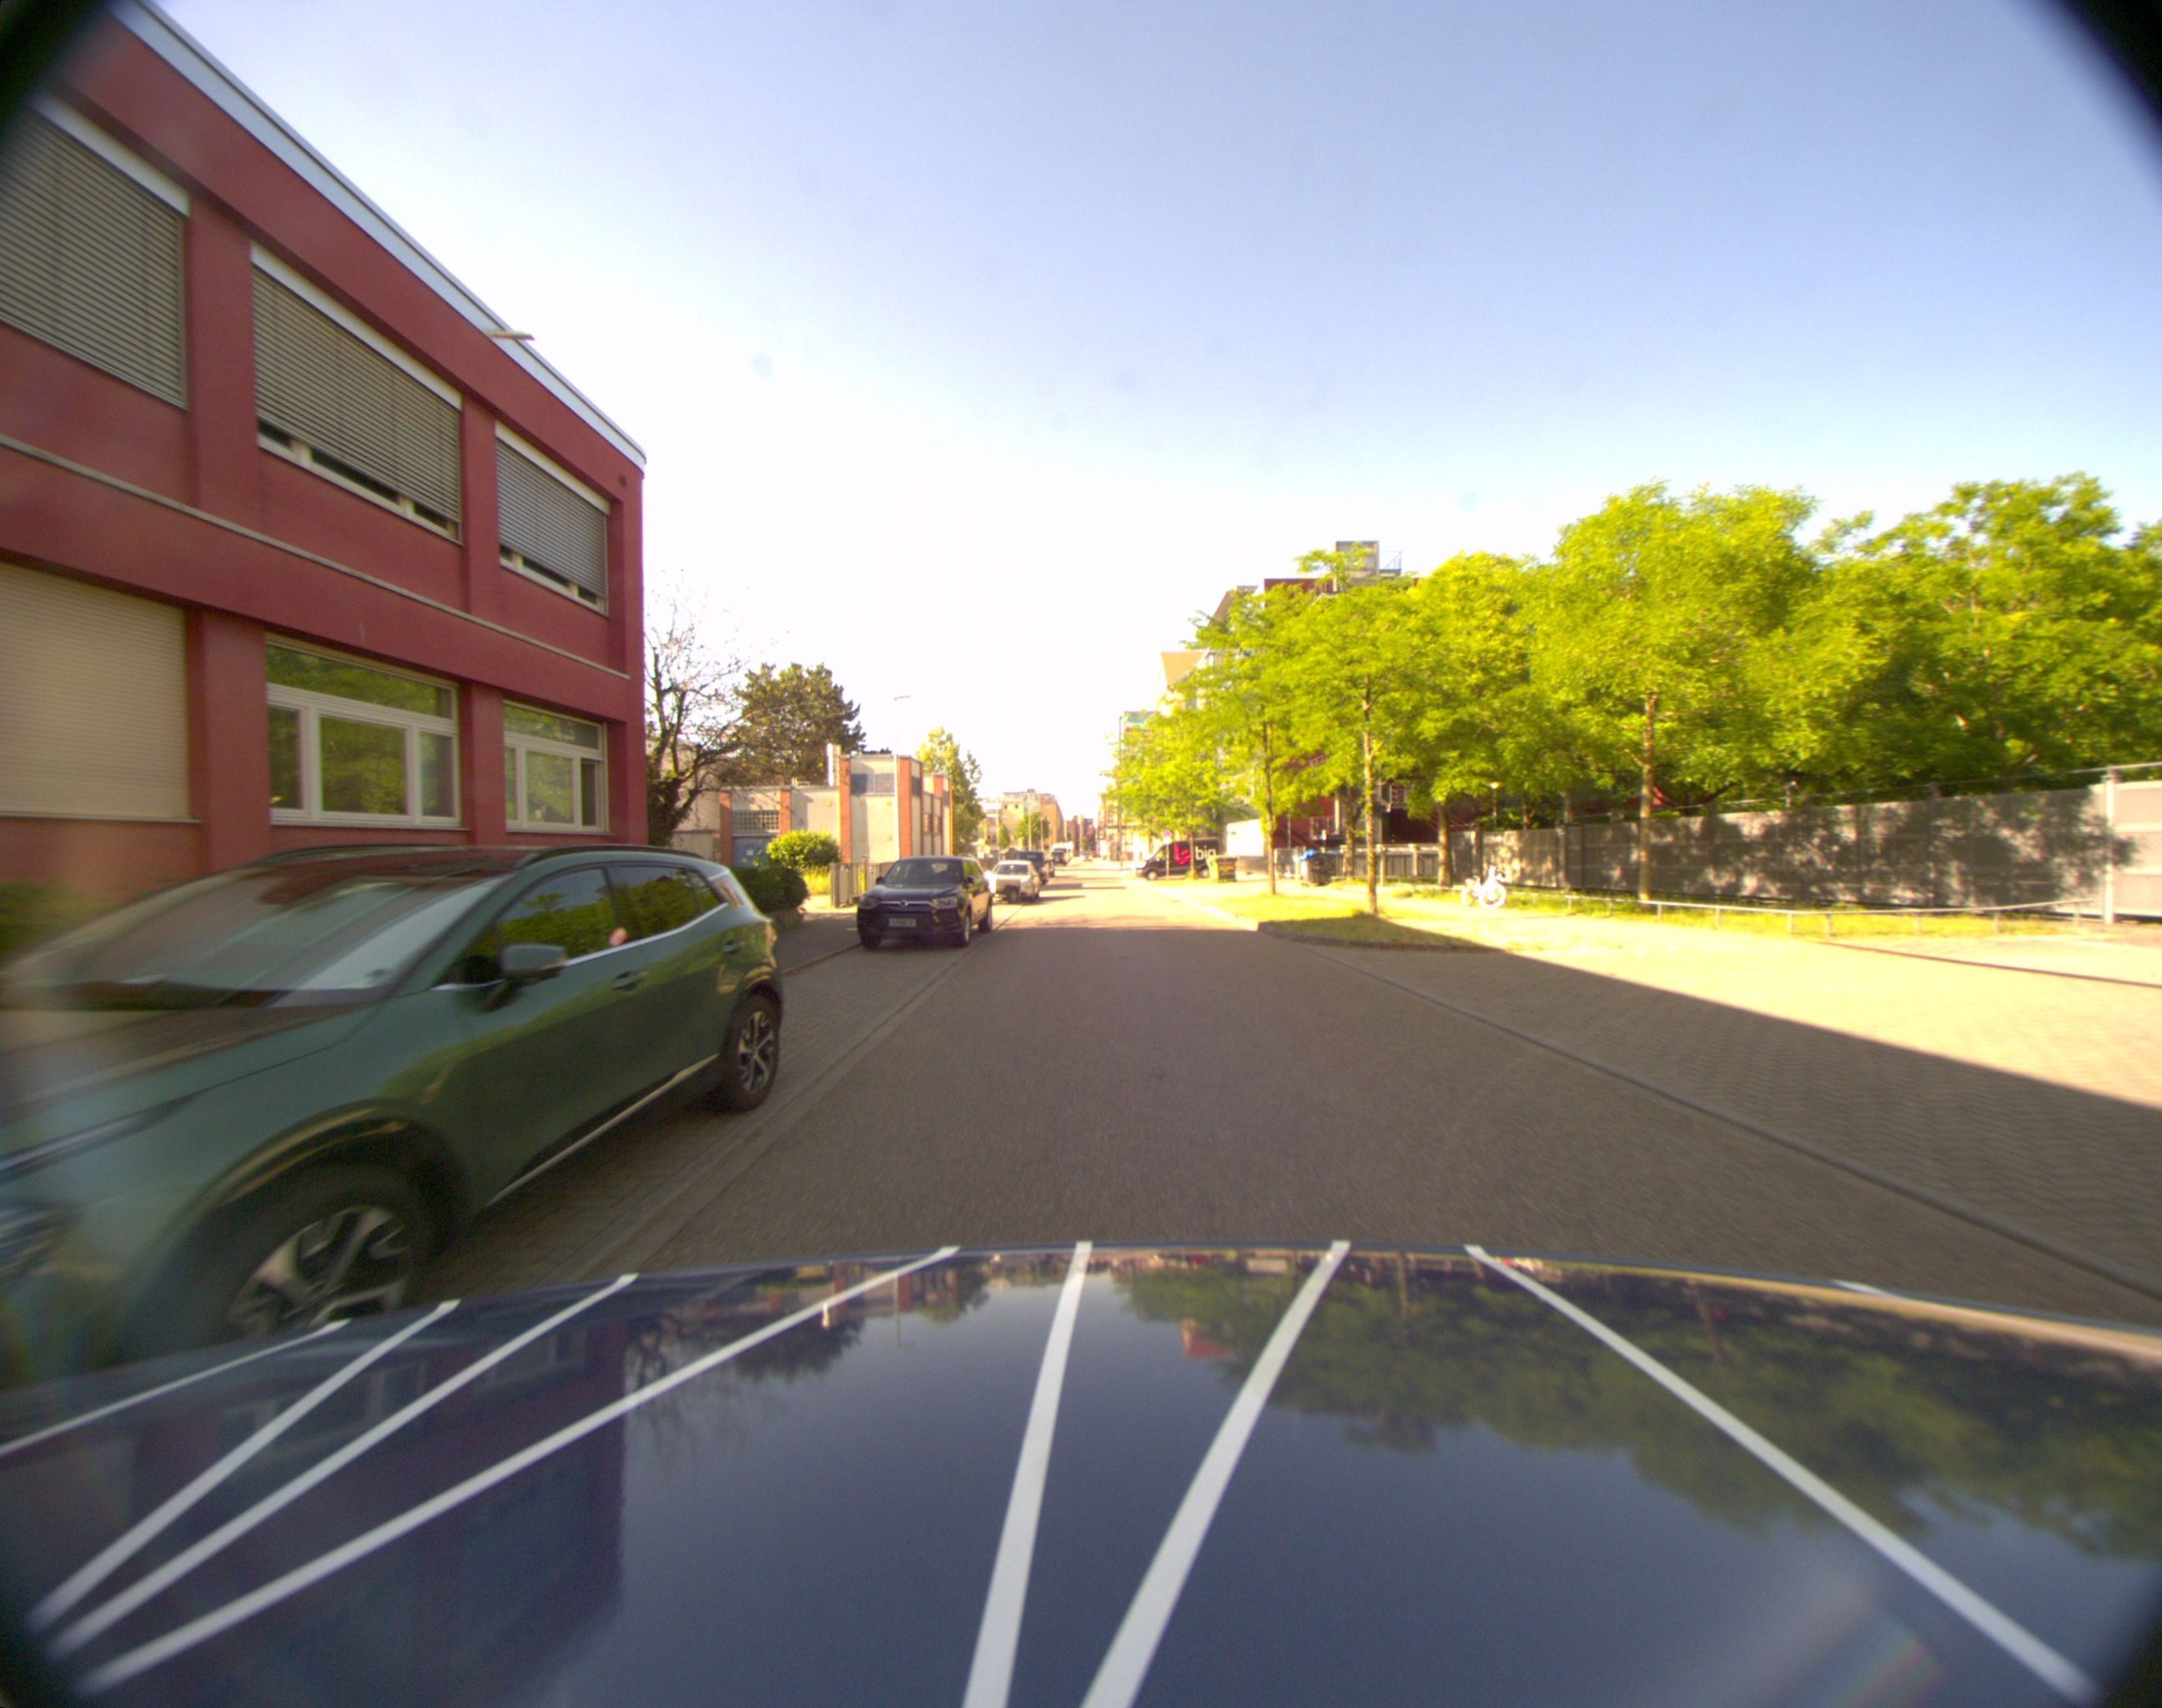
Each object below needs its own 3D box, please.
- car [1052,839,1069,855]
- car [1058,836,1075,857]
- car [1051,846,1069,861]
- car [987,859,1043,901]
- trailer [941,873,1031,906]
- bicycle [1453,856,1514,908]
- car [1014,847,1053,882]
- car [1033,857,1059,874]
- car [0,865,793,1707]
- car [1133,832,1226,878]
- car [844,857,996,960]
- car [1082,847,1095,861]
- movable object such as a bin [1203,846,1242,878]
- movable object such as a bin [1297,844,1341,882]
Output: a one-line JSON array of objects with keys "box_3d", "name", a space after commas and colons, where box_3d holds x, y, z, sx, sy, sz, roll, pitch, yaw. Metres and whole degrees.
[{"box_3d": [-2.513, -0.885, 95.612, 1.903, 1.974, 4.372, 0, 1, 1], "name": "car"}, {"box_3d": [-2.679, -1.447, 146.373, 2.913, 3.920, 6.325, 0, 1, 2], "name": "car"}, {"box_3d": [-2.376, -0.060, 86.483, 1.903, 1.585, 4.372, 0, 1, 1], "name": "car"}, {"box_3d": [-2.445, 0.924, 28.853, 1.699, 1.448, 3.889, 0, 1, 1], "name": "car"}, {"box_3d": [-3.119, 1.156, 25.370, 1.563, 0.922, 2.986, 0, 1, 27], "name": "trailer"}, {"box_3d": [10.050, 0.672, 19.026, 0.602, 1.185, 1.727, -2, 1, 1], "name": "bicycle"}, {"box_3d": [-2.752, 0.569, 44.932, 1.903, 1.974, 4.372, 0, 1, 1], "name": "car"}, {"box_3d": [-2.730, 0.895, 60.335, 1.777, 1.281, 4.095, 0, 0, 1], "name": "car"}, {"box_3d": [-2.976, 0.904, 3.044, 1.903, 1.620, 4.372, 0, 1, 1], "name": "car"}, {"box_3d": [6.173, 0.041, 47.982, 5.489, 2.527, 1.986, -3, 1, 0], "name": "car"}, {"box_3d": [-2.842, 0.887, 14.442, 1.878, 1.620, 4.406, 0, 1, 1], "name": "car"}, {"box_3d": [1.062, 0.017, 105.960, 1.903, 1.974, 4.372, 0, 1, 1], "name": "car"}, {"box_3d": [7.231, 0.392, 38.855, 1.524, 1.559, 1.345, -2, 1, -9], "name": "movable object such as a bin"}, {"box_3d": [10.213, 0.366, 32.630, 1.522, 1.559, 1.347, -2, 1, 5], "name": "movable object such as a bin"}]
